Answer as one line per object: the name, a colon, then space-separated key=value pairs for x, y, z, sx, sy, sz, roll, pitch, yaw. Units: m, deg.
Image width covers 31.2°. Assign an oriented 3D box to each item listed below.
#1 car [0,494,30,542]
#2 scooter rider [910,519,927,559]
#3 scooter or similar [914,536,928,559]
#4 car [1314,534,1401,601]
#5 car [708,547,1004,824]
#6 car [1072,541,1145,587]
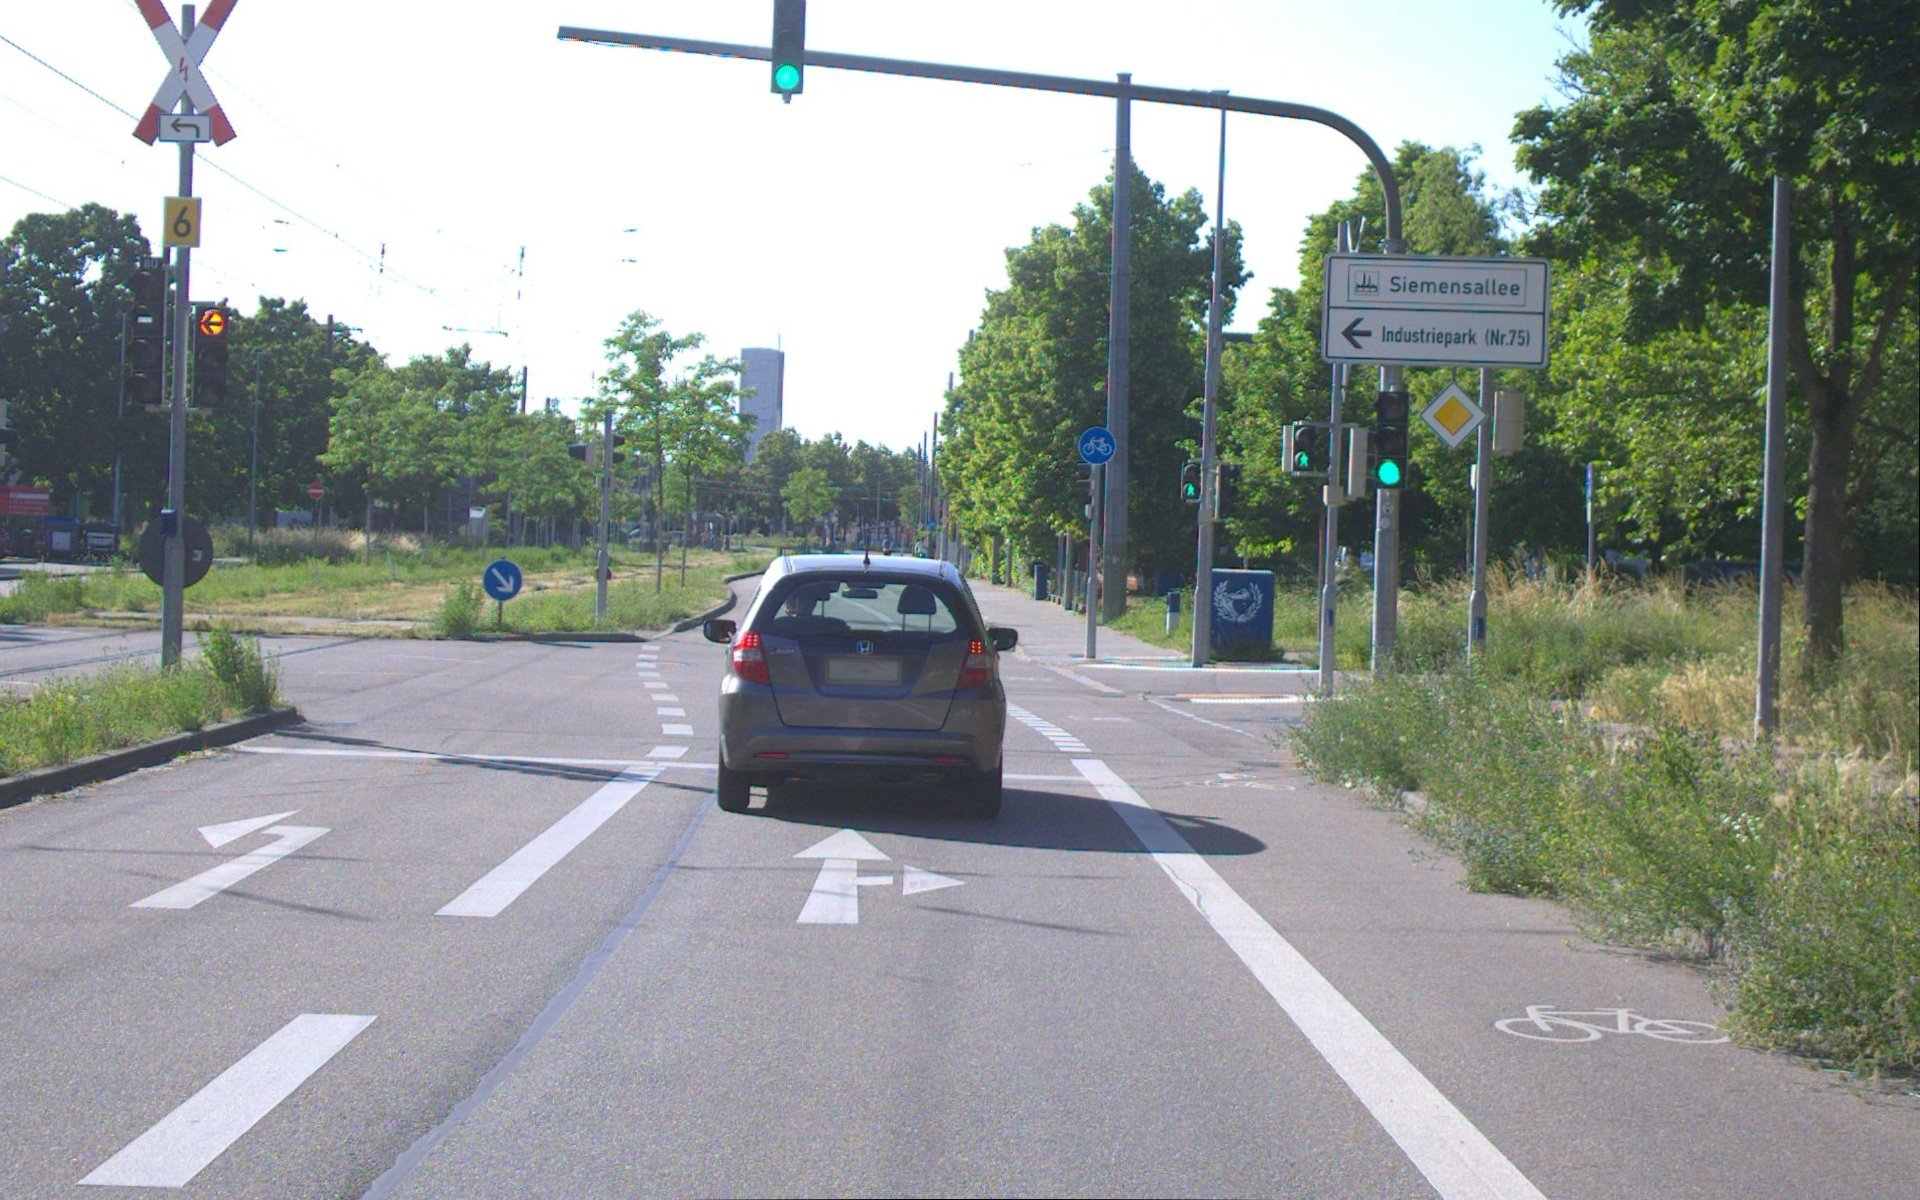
car: x=-33.352 y=-2.794 z=114.959 sx=4.070 sy=1.563 sz=1.792 roll=2 pitch=1 yaw=-4
scooter rider: x=-1.997 y=-2.918 z=165.580 sx=0.716 sy=1.894 sz=0.935 roll=2 pitch=1 yaw=-4
scooter or similar: x=-1.874 y=-2.527 z=165.544 sx=0.539 sy=1.114 sz=1.417 roll=2 pitch=1 yaw=-4
car: x=12.493 y=-1.056 z=108.219 sx=1.872 sy=1.960 sz=5.167 roll=3 pitch=1 yaw=-2
car: x=-0.579 y=0.454 z=21.155 sx=1.624 sy=1.494 sz=3.457 roll=2 pitch=1 yaw=0
car: x=4.678 y=-1.140 z=108.494 sx=1.773 sy=1.382 sz=3.871 roll=1 pitch=1 yaw=-5
